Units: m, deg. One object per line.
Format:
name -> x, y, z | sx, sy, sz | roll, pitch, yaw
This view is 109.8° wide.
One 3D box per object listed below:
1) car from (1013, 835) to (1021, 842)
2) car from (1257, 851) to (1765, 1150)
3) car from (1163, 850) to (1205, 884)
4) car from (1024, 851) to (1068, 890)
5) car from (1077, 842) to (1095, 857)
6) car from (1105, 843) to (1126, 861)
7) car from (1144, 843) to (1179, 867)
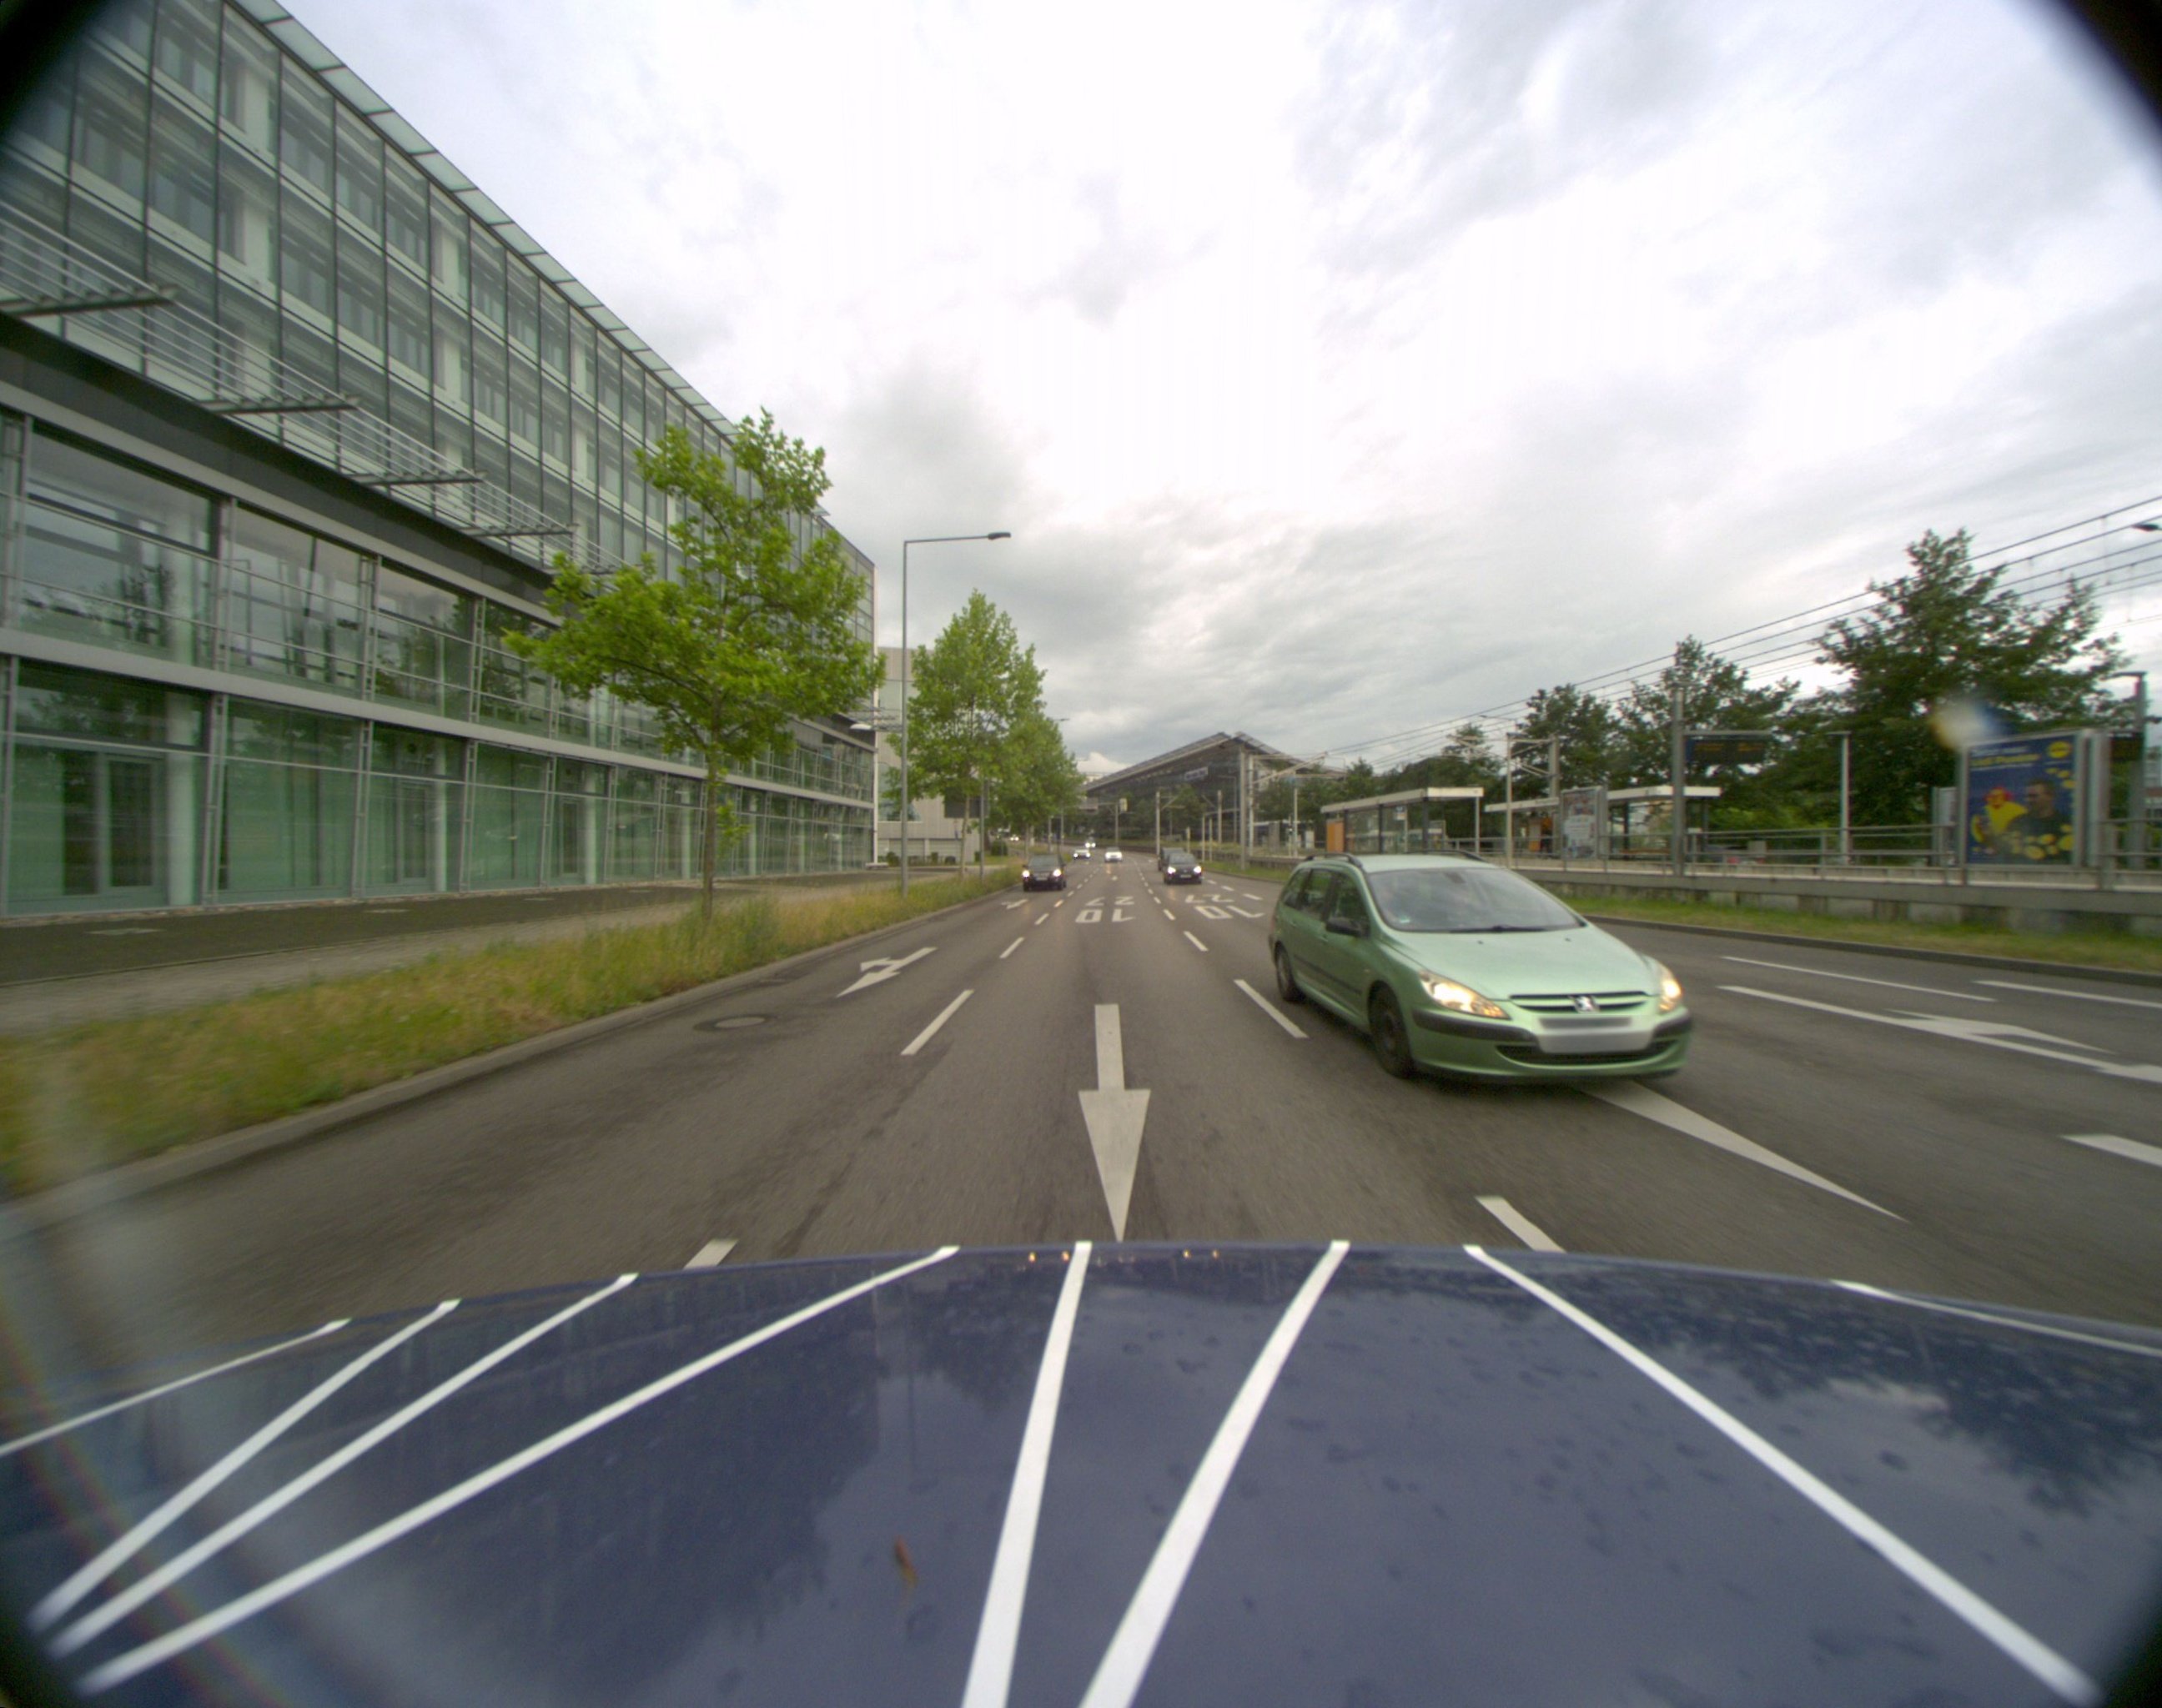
car -> -16.157, -3.887, 191.904 | 1.830, 1.701, 4.151 | -2, 1, -5
car -> 2.795, 0.777, 6.230 | 1.699, 1.460, 4.402 | -2, 1, 1
car -> 5.054, 0.606, 37.769 | 1.697, 1.514, 3.904 | -2, 1, 3
car -> -1.559, 0.725, 35.714 | 1.770, 1.620, 4.324 | -2, 1, 0
car -> 0.612, -0.622, 93.438 | 1.999, 1.669, 3.820 | -3, 1, -2
car -> 3.561, -0.226, 79.645 | 1.805, 1.713, 3.998 | -2, 1, -2
car -> 5.776, 0.043, 55.218 | 1.732, 1.583, 4.190 | -3, 1, -5
